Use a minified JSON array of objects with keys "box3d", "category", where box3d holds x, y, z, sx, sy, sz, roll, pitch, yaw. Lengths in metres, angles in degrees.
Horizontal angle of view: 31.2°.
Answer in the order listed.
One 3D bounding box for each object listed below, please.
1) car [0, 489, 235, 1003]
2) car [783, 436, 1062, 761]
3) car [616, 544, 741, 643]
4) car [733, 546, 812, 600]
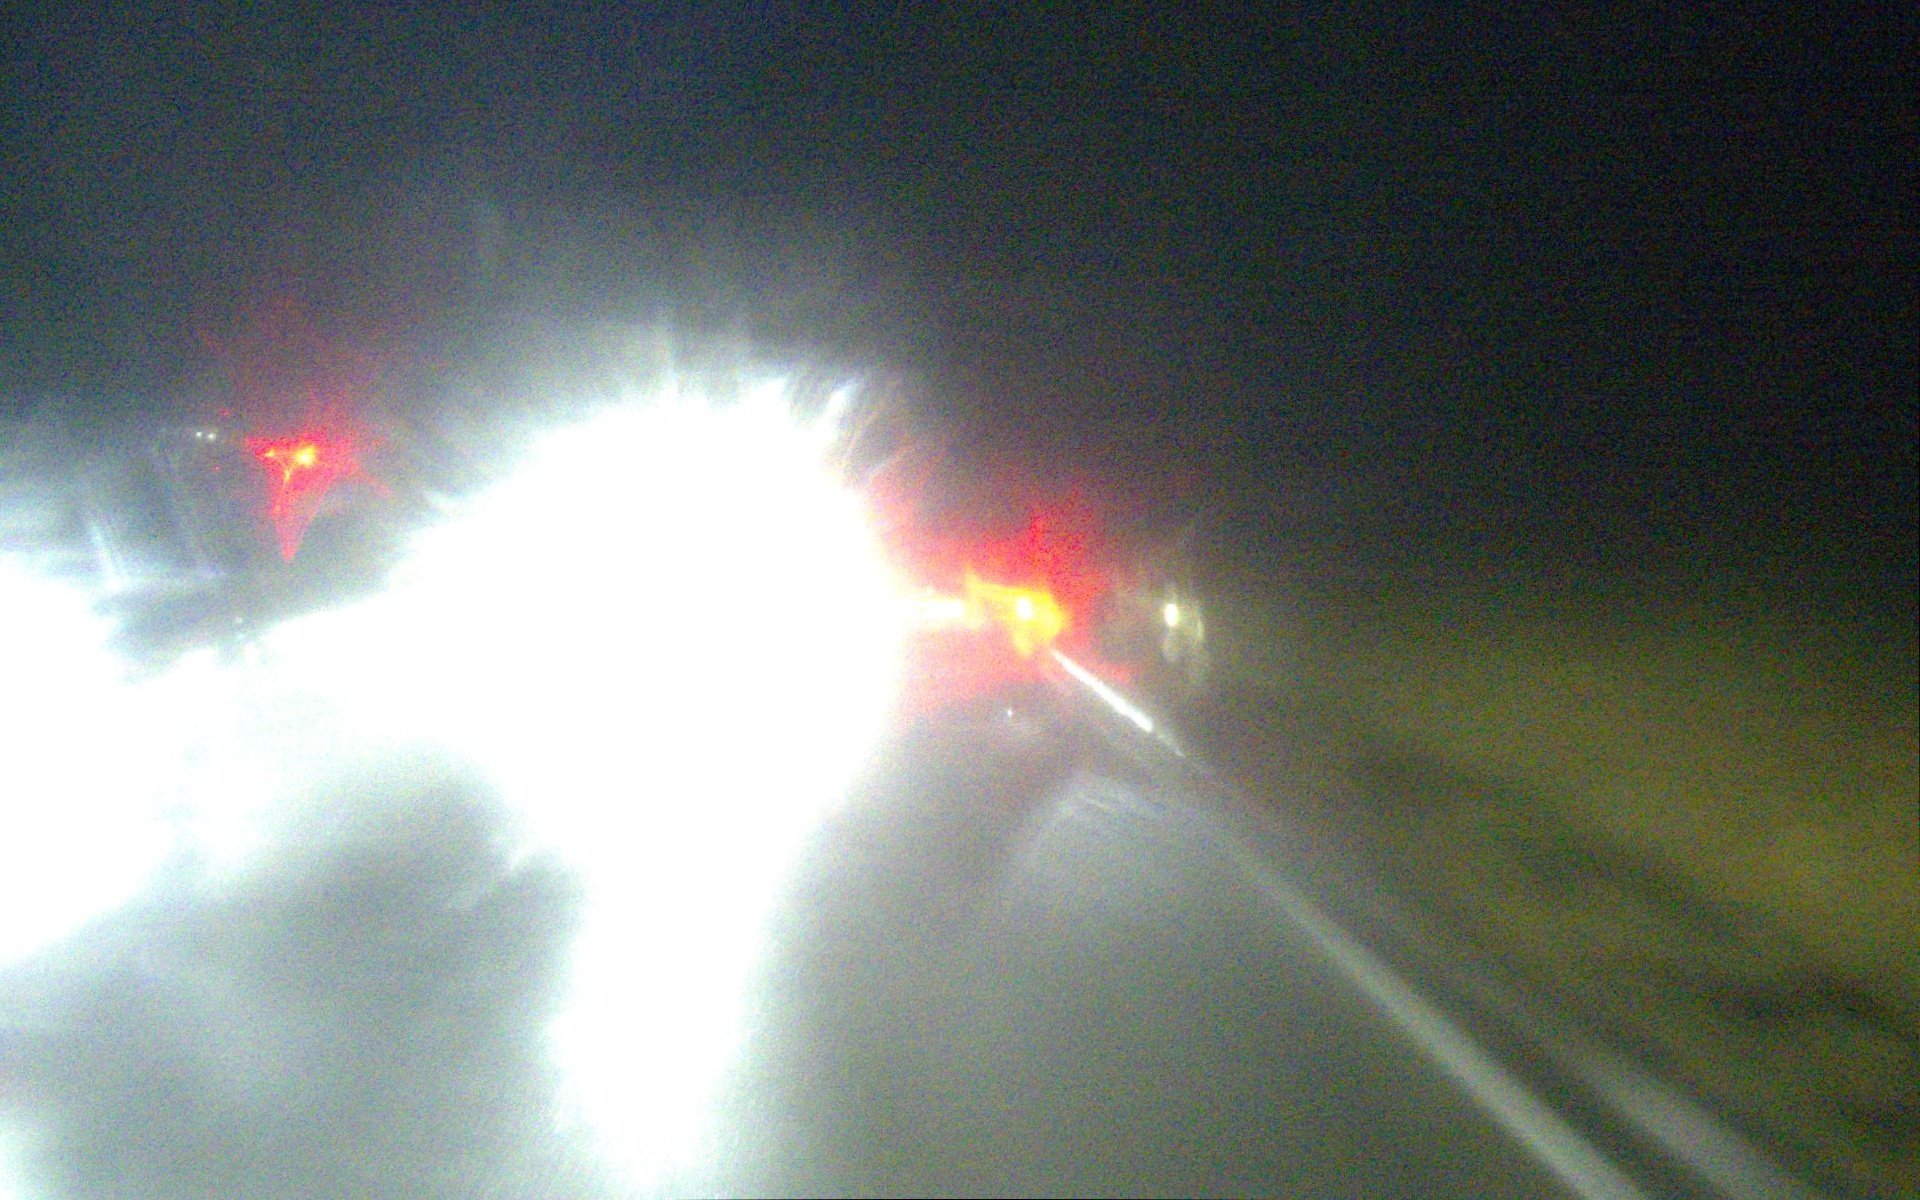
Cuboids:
[{"box3d":[-4.007,0.442,12.543,1.859,1.632,4.143,-1,1,-1],"category":"car"},{"box3d":[-0.332,-0.114,29.644,2.181,2.548,4.509,1,3,-1],"category":"car"},{"box3d":[-4.531,-0.132,55.774,1.772,1.505,3.690,-1,2,-1],"category":"car"},{"box3d":[-5.372,-0.762,99.194,1.919,1.466,4.574,-2,0,1],"category":"car"}]
